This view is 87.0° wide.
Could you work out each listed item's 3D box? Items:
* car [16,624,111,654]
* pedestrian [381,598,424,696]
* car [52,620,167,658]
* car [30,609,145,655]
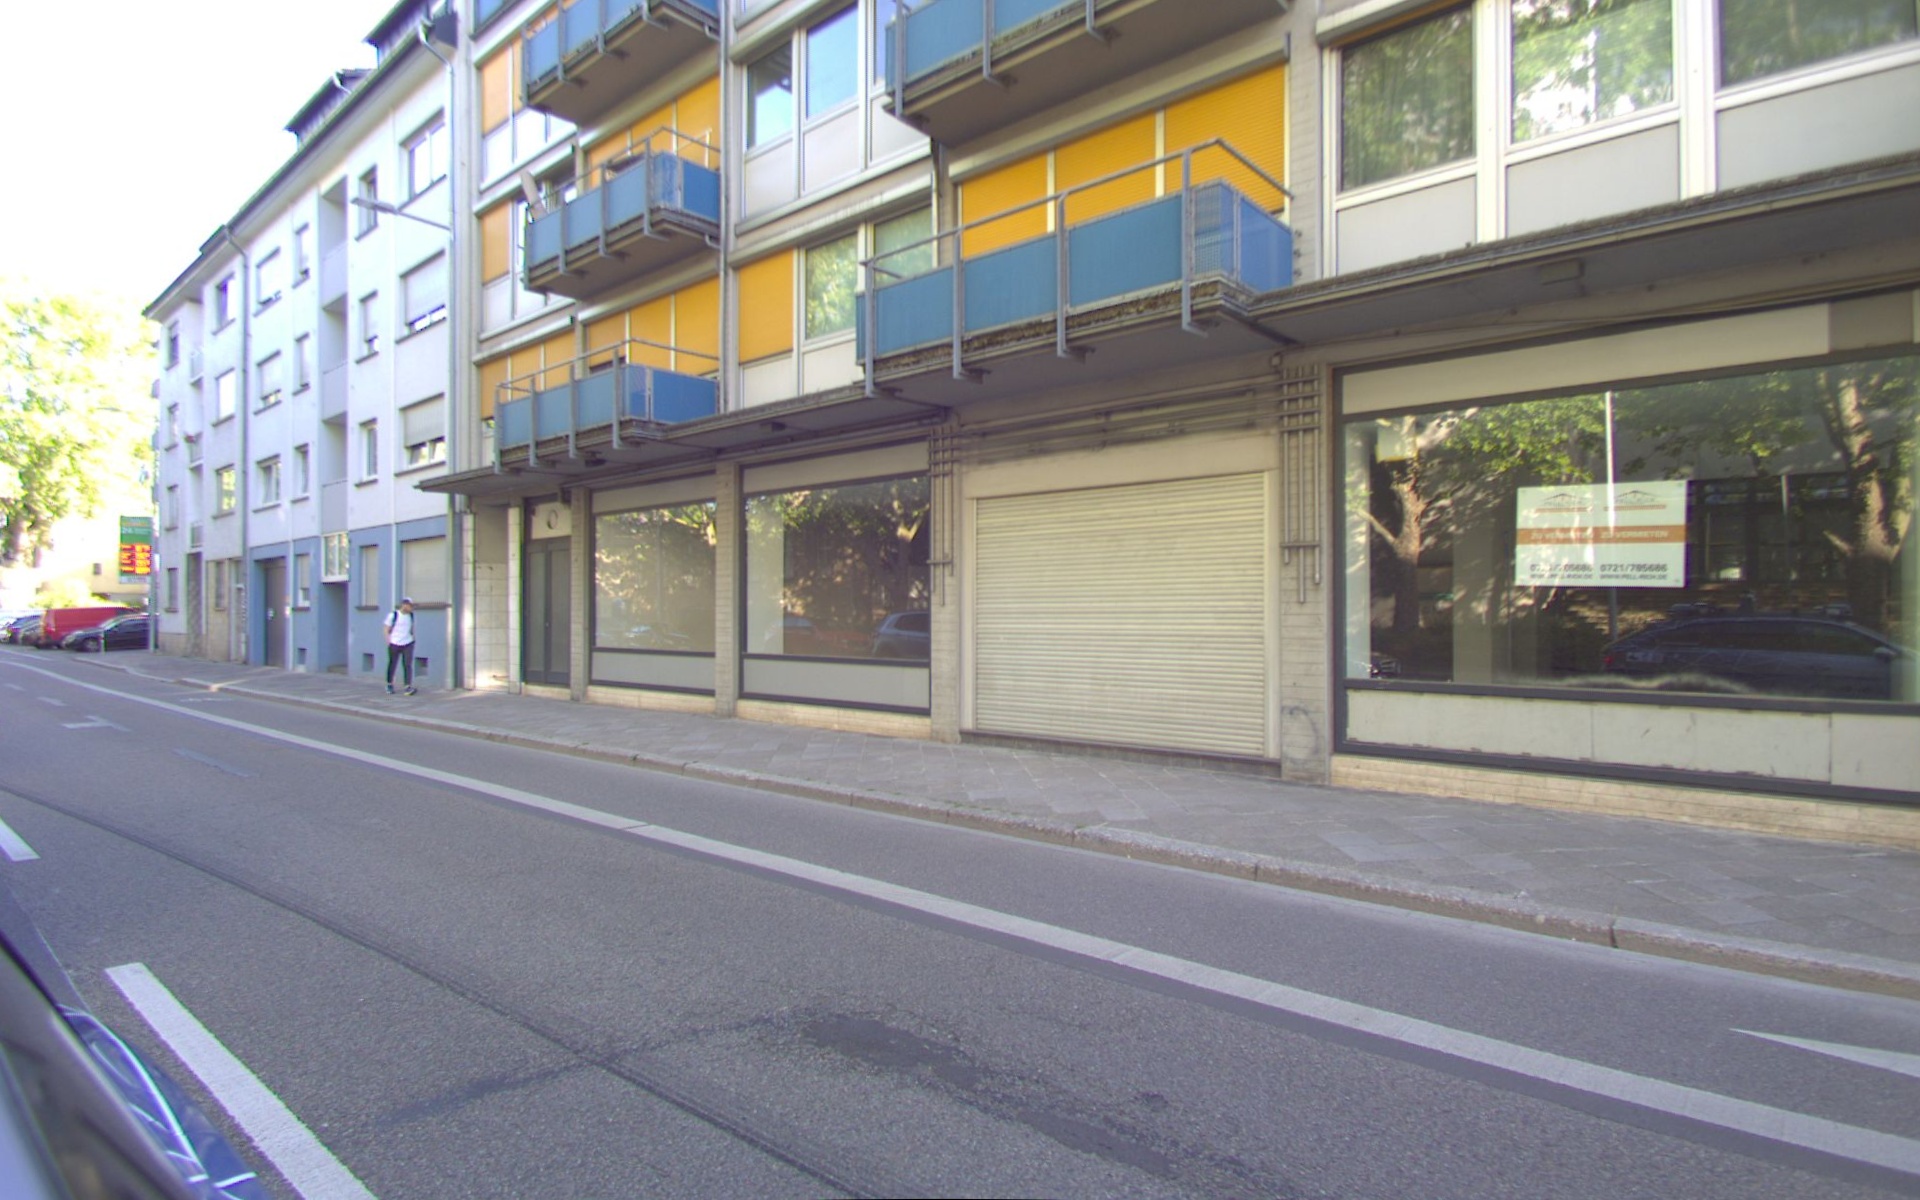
[{"bbox_3d":[-43.341,1.875,48.986,1.294,1.258,3.283,-1,0,41],"label":"car"},{"bbox_3d":[-10.191,0.851,18.494,0.343,1.739,0.562,-1,0,41],"label":"pedestrian"},{"bbox_3d":[-37.027,1.663,44.097,1.635,1.422,3.623,-1,0,41],"label":"car"},{"bbox_3d":[-41.000,1.468,47.626,1.635,1.937,3.878,-1,0,41],"label":"car"}]
